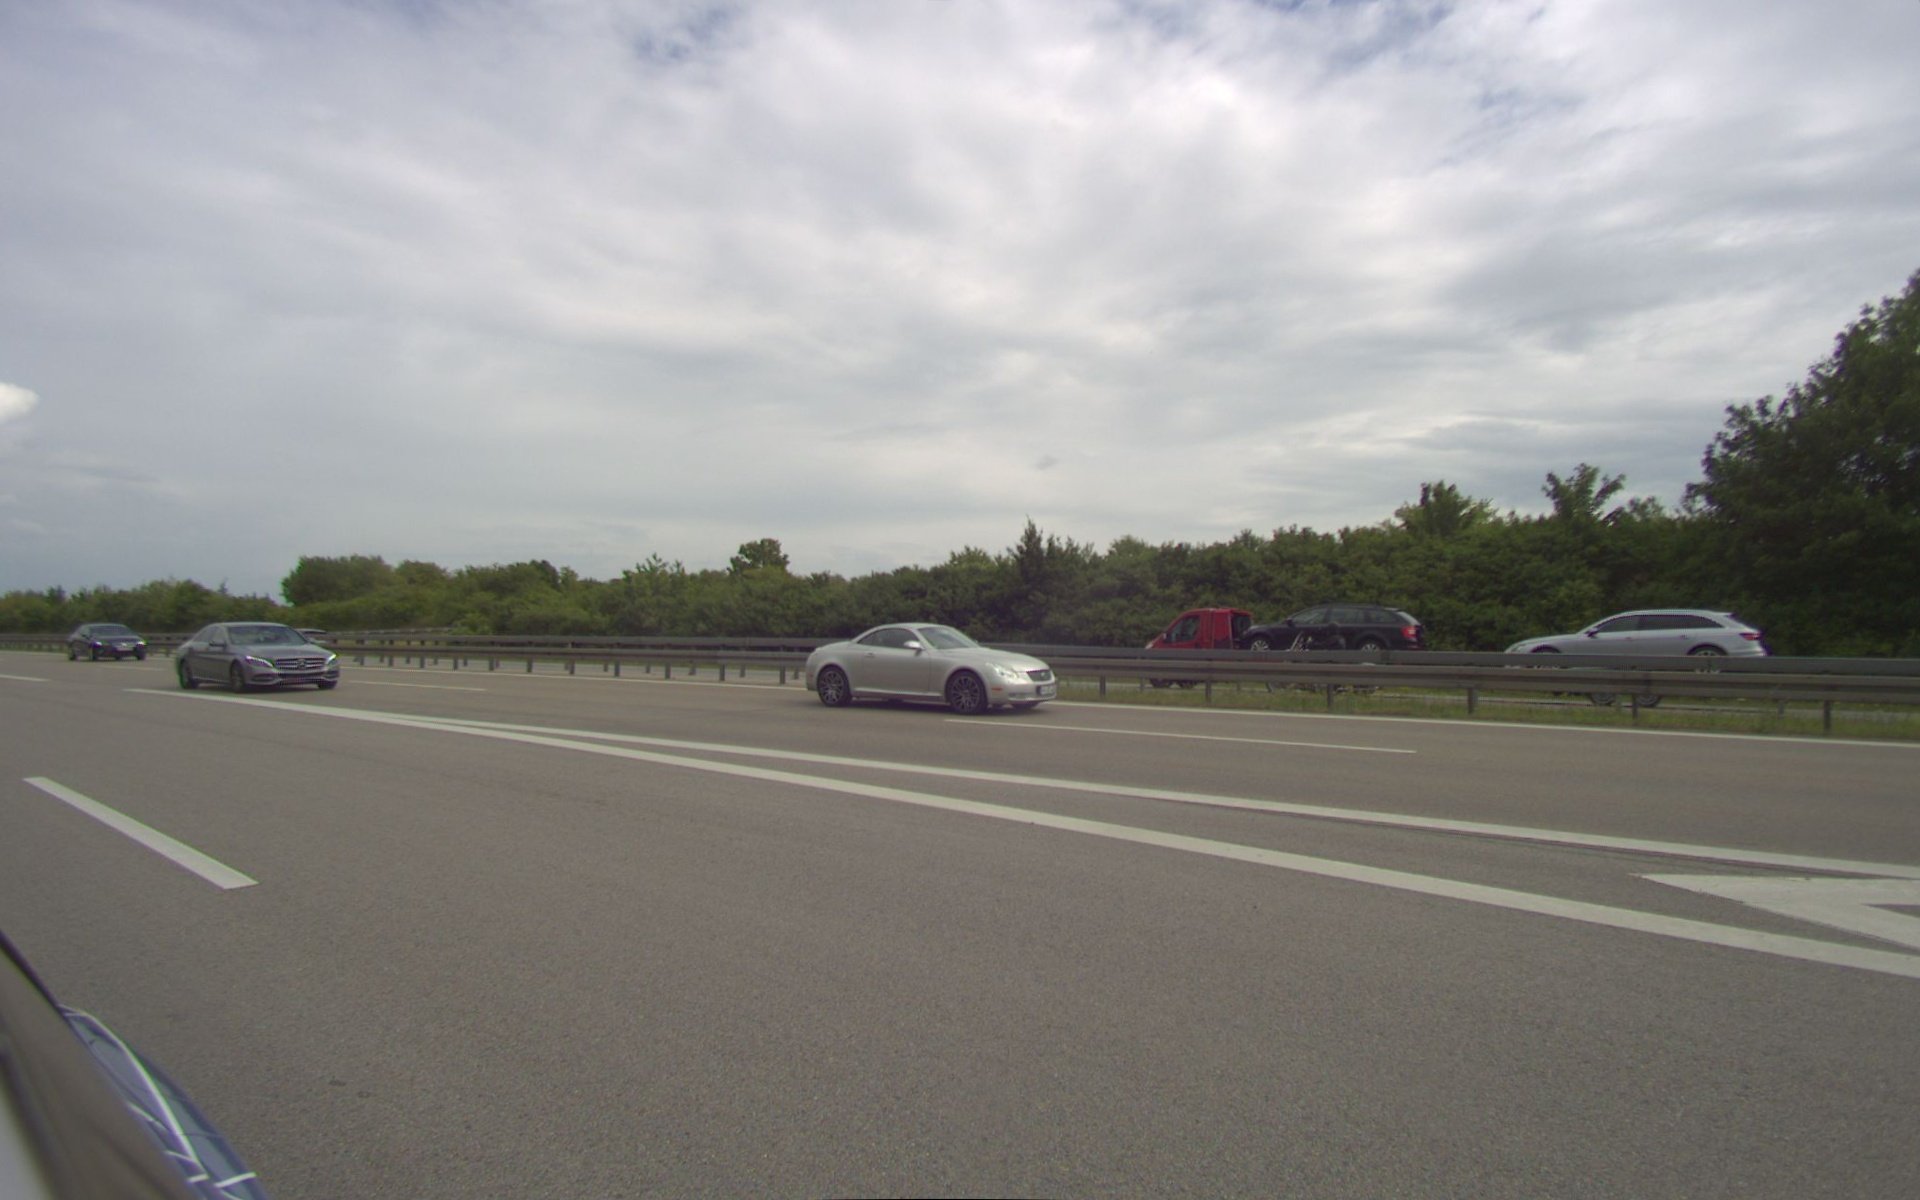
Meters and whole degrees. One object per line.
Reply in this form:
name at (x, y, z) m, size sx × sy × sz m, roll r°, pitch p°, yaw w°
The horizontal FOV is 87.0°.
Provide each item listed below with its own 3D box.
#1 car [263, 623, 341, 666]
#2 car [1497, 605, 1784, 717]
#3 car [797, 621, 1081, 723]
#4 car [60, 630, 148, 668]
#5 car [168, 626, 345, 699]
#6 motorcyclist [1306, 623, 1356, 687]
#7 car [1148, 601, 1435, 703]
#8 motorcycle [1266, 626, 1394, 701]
car at (-32.284, 2.147, 49.618) m, size 3.993 × 2.029 × 1.975 m, roll -1°, pitch -2°, yaw 37°
car at (14.426, 1.235, 21.738) m, size 4.863 × 2.149 × 2.144 m, roll -1°, pitch -2°, yaw 35°
car at (-0.404, 1.052, 16.015) m, size 4.296 × 1.409 × 1.764 m, roll -1°, pitch -2°, yaw 35°
car at (-34.043, 1.904, 40.209) m, size 4.299 × 1.409 × 1.763 m, roll -1°, pitch -2°, yaw 37°
car at (-15.003, 1.257, 21.492) m, size 4.543 × 1.409 × 1.763 m, roll -1°, pitch -2°, yaw 37°
motorcyclist at (7.670, 1.123, 20.918) m, size 0.821 × 1.262 × 0.652 m, roll -1°, pitch 0°, yaw 35°
car at (8.369, 1.271, 26.002) m, size 6.661 × 2.348 × 2.144 m, roll -1°, pitch -2°, yaw 35°
motorcycle at (7.634, 1.273, 20.952) m, size 2.390 × 1.455 × 0.652 m, roll -1°, pitch 0°, yaw 36°
